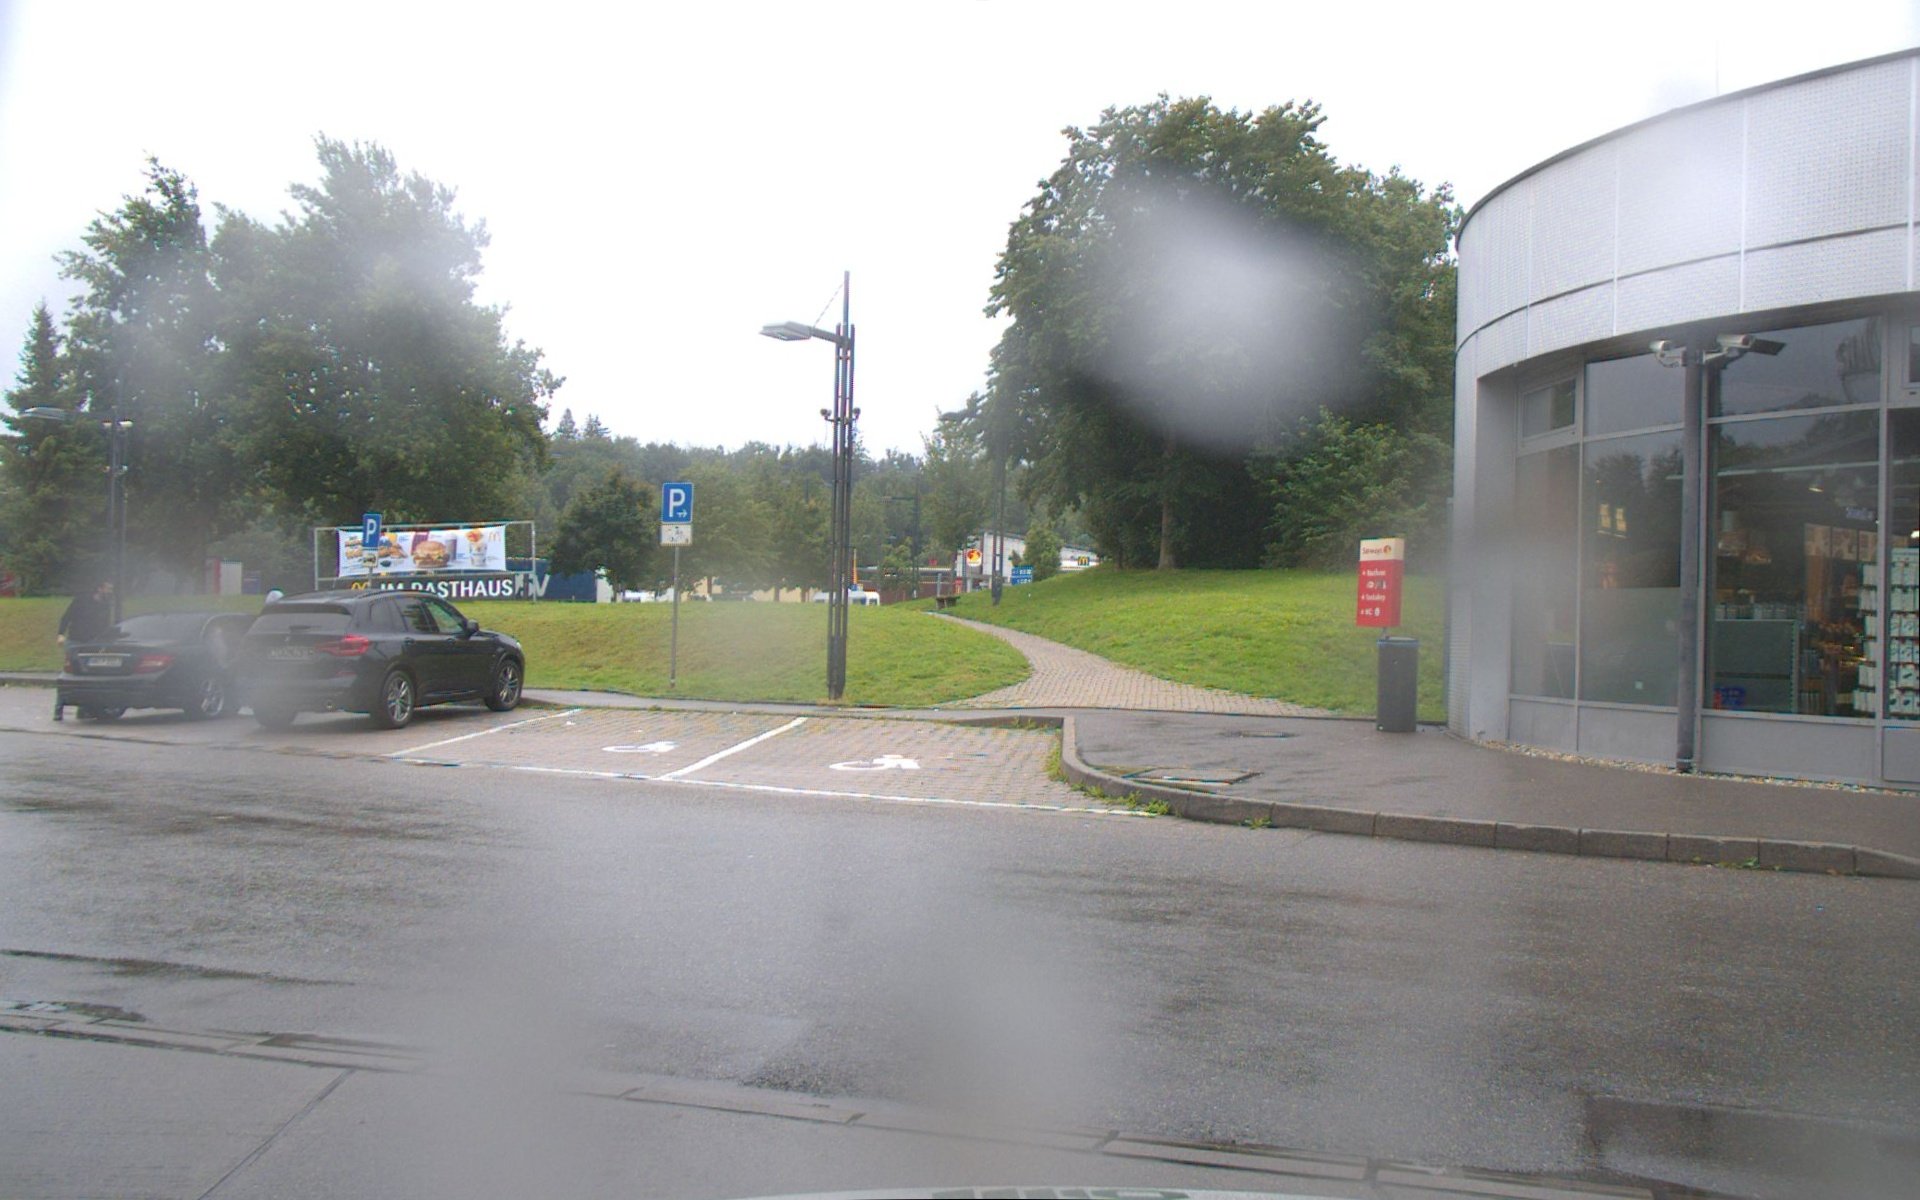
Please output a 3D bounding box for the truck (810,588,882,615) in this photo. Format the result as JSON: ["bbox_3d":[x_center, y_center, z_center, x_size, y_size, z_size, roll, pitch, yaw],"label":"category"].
[{"bbox_3d":[-9.235,0.135,133.666,5.298,2.049,2.366,1,0,24],"label":"truck"}]

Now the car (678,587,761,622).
[{"bbox_3d":[-12.966,0.239,89.381,4.092,1.814,1.820,1,0,-37],"label":"car"}]

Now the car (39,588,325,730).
[{"bbox_3d":[-10.575,0.720,22.888,1.976,1.741,4.342,-1,1,-2],"label":"car"}]

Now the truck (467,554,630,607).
[{"bbox_3d":[-24.932,-1.088,101.268,2.142,2.971,13.092,1,0,23],"label":"truck"}]

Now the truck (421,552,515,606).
[{"bbox_3d":[-27.982,-1.171,94.253,2.142,2.971,5.384,1,0,24],"label":"truck"}]

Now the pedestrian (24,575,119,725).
[{"bbox_3d":[-11.742,0.647,21.872,0.873,1.920,0.703,1,-1,26],"label":"pedestrian"}]

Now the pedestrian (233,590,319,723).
[{"bbox_3d":[-8.786,0.716,21.241,0.940,1.660,0.698,1,-1,-28],"label":"pedestrian"}]

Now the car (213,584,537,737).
[{"bbox_3d":[-7.368,0.693,21.370,1.973,1.741,4.347,-1,1,11],"label":"car"}]
